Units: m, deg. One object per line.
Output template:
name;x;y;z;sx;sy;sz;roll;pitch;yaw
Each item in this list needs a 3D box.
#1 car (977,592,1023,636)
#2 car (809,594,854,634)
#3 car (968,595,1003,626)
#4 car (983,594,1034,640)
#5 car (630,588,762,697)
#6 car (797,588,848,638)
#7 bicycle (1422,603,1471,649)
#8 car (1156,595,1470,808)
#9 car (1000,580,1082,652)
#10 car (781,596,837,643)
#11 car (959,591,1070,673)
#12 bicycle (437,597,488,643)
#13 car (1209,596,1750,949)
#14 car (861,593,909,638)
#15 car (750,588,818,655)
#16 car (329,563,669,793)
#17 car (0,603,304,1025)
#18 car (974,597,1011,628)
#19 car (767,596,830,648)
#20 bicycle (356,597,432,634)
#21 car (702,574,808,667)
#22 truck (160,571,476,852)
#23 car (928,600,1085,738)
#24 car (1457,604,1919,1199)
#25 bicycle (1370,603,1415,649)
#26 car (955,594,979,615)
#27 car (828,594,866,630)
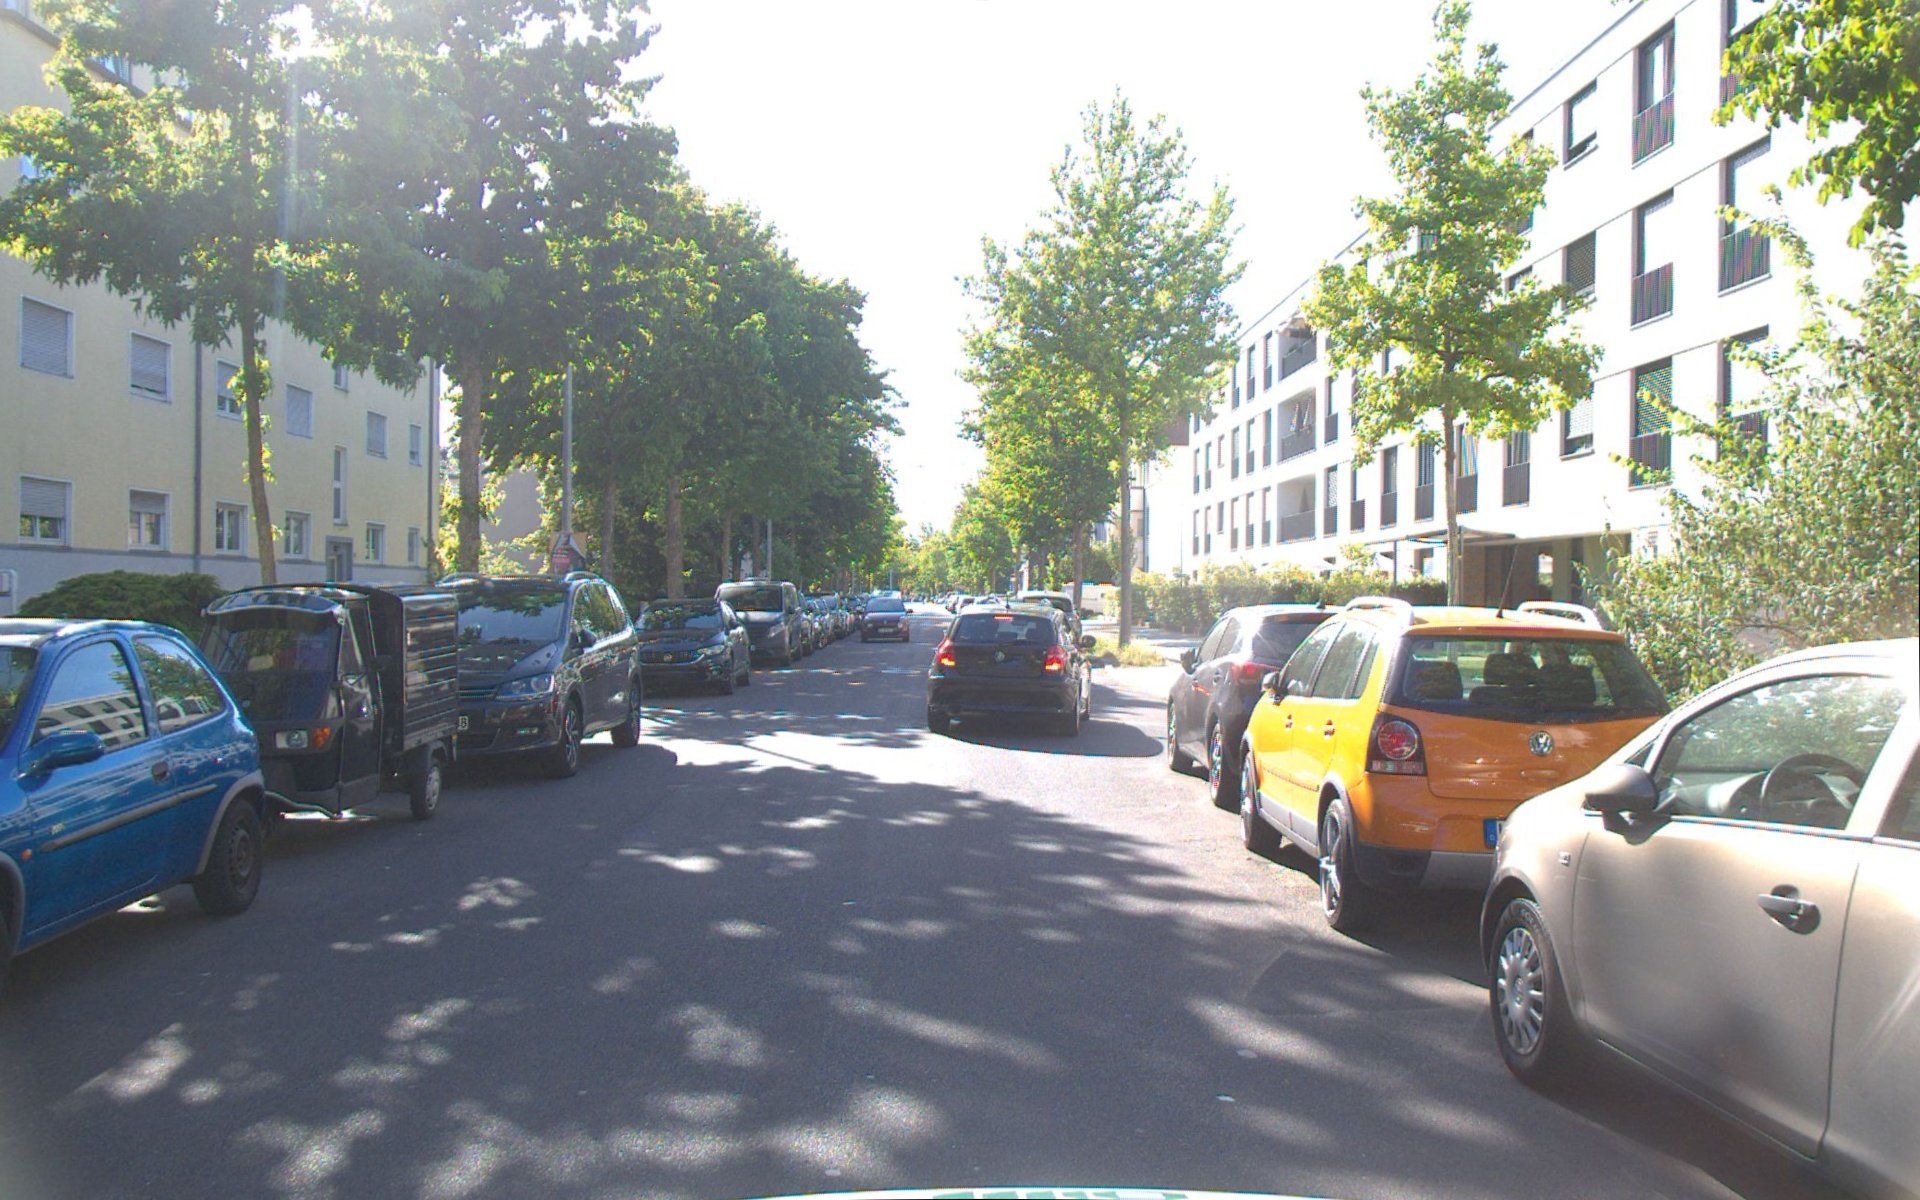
car;1.610;0.537;67.145;1.686;1.669;3.851;2;0;0
car;-5.012;0.524;64.929;1.580;1.478;3.864;-1;0;-2
car;1.327;0.547;87.045;1.686;1.506;3.851;2;0;0
car;1.758;0.609;61.140;1.686;1.555;4.000;2;0;0
car;-4.259;0.634;27.259;1.477;1.575;4.777;-2;0;-2
car;-4.903;0.439;59.228;1.580;1.708;4.232;-1;0;-2
bicycle;11.724;0.624;39.890;0.535;1.073;1.778;-1;0;-4
car;2.721;0.706;13.647;1.666;1.474;4.081;0;0;-1
car;1.948;0.384;41.015;1.810;1.659;4.410;1;0;0
car;-4.871;0.617;53.787;1.580;1.452;3.724;-1;0;-2
car;0.976;0.556;31.621;1.617;1.450;3.996;0;0;-6
bicycle;-11.218;0.438;37.334;0.582;1.009;1.927;0;0;-1
car;2.520;0.725;9.076;1.603;1.480;4.098;0;0;-1
car;-2.479;0.505;55.143;1.474;1.451;3.177;0;0;0
car;-4.572;0.523;43.391;1.580;1.639;4.226;-1;0;-4
car;-4.007;0.590;15.308;1.812;1.710;4.975;-2;0;-1
car;-4.056;0.733;6.649;1.490;1.419;3.725;0;0;-3
car;1.599;0.608;82.264;1.686;1.403;3.851;2;0;0
car;-4.709;0.608;48.696;1.580;1.452;4.056;-1;0;-2
bicycle;-15.631;0.434;45.700;1.886;1.009;0.595;0;0;-9
car;-4.582;0.425;37.616;1.789;1.938;5.141;-1;0;-1
truck;-4.028;0.632;10.676;1.062;1.605;2.432;0;0;1
car;0.459;0.724;19.141;1.616;1.421;3.410;0;0;-2
car;2.640;0.755;4.016;1.616;1.453;3.610;0;0;-3
bicycle;10.389;0.624;39.815;0.535;1.073;1.690;-1;0;-4
car;0.531;0.327;122.324;1.685;1.506;3.852;0;0;2
car;-5.216;0.537;76.447;1.580;1.570;3.864;-1;0;-2
